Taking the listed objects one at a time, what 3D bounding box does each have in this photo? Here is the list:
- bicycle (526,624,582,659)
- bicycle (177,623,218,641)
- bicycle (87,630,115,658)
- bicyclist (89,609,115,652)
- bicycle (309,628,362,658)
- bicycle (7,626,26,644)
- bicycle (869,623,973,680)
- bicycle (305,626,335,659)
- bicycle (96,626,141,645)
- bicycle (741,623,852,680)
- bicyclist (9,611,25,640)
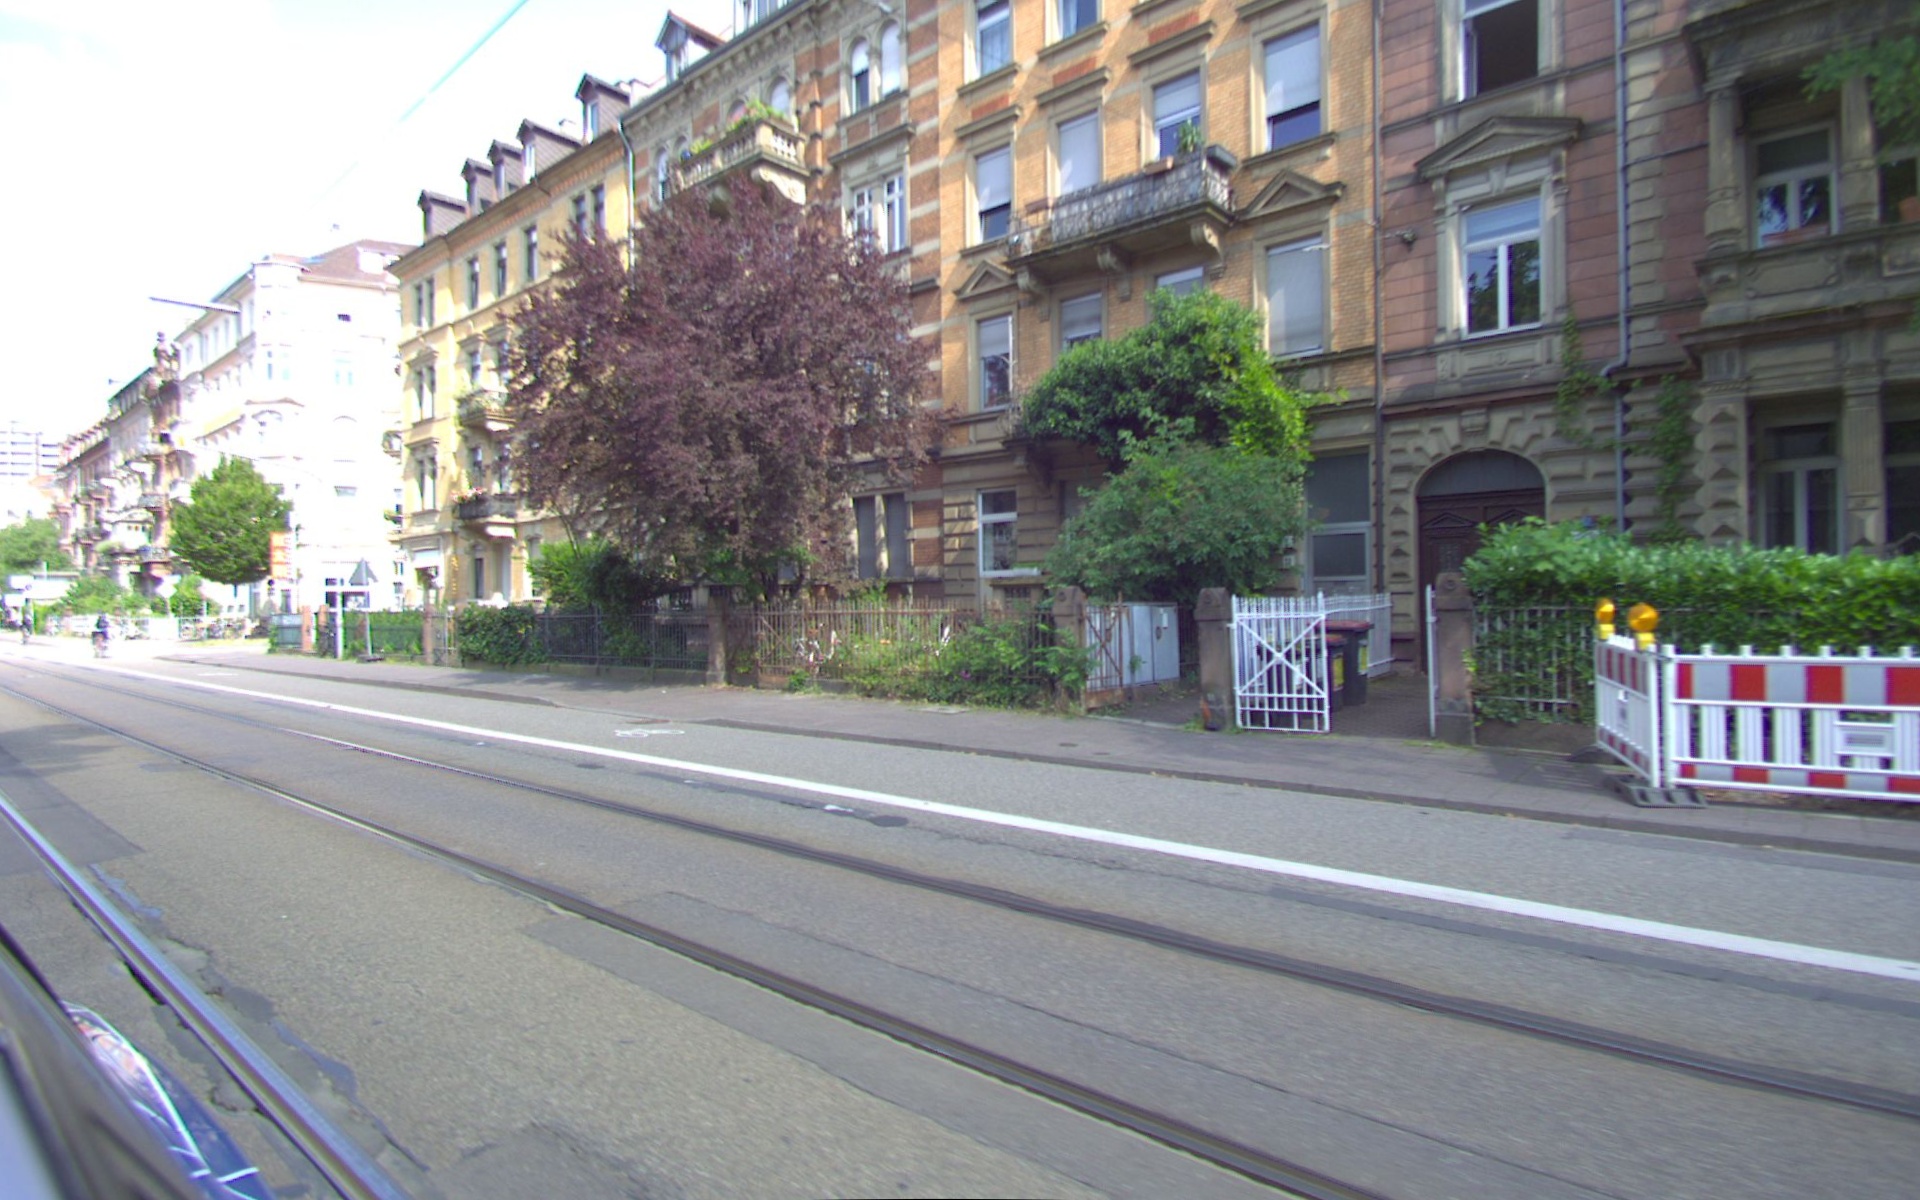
[{"bbox_3d":[-11.307,1.158,28.227,0.401,0.948,1.412,-5,-6,43],"label":"bicycle"},{"bbox_3d":[-42.101,1.776,55.879,0.483,0.948,1.731,-1,-3,40],"label":"bicycle"},{"bbox_3d":[-30.379,1.548,35.810,0.598,0.948,1.758,3,-2,-37],"label":"bicycle"},{"bbox_3d":[-30.365,1.066,35.820,0.605,1.510,0.744,2,-2,-37],"label":"bicyclist"},{"bbox_3d":[-20.271,1.417,32.862,0.401,0.948,1.412,-5,-6,43],"label":"bicycle"},{"bbox_3d":[-49.642,1.833,53.245,1.752,0.948,0.477,0,-3,38],"label":"bicycle"},{"bbox_3d":[-0.665,0.895,18.086,0.586,0.944,2.106,-1,-1,40],"label":"bicycle"},{"bbox_3d":[-19.571,1.312,30.955,1.472,0.948,0.395,-5,-6,43],"label":"bicycle"},{"bbox_3d":[-44.019,1.879,52.960,1.724,0.948,0.485,2,-2,-25],"label":"bicycle"},{"bbox_3d":[-2.917,0.897,18.279,0.586,0.944,2.106,-1,-1,40],"label":"bicycle"},{"bbox_3d":[-49.622,1.342,53.254,0.742,1.510,0.471,-1,-3,38],"label":"bicyclist"}]
